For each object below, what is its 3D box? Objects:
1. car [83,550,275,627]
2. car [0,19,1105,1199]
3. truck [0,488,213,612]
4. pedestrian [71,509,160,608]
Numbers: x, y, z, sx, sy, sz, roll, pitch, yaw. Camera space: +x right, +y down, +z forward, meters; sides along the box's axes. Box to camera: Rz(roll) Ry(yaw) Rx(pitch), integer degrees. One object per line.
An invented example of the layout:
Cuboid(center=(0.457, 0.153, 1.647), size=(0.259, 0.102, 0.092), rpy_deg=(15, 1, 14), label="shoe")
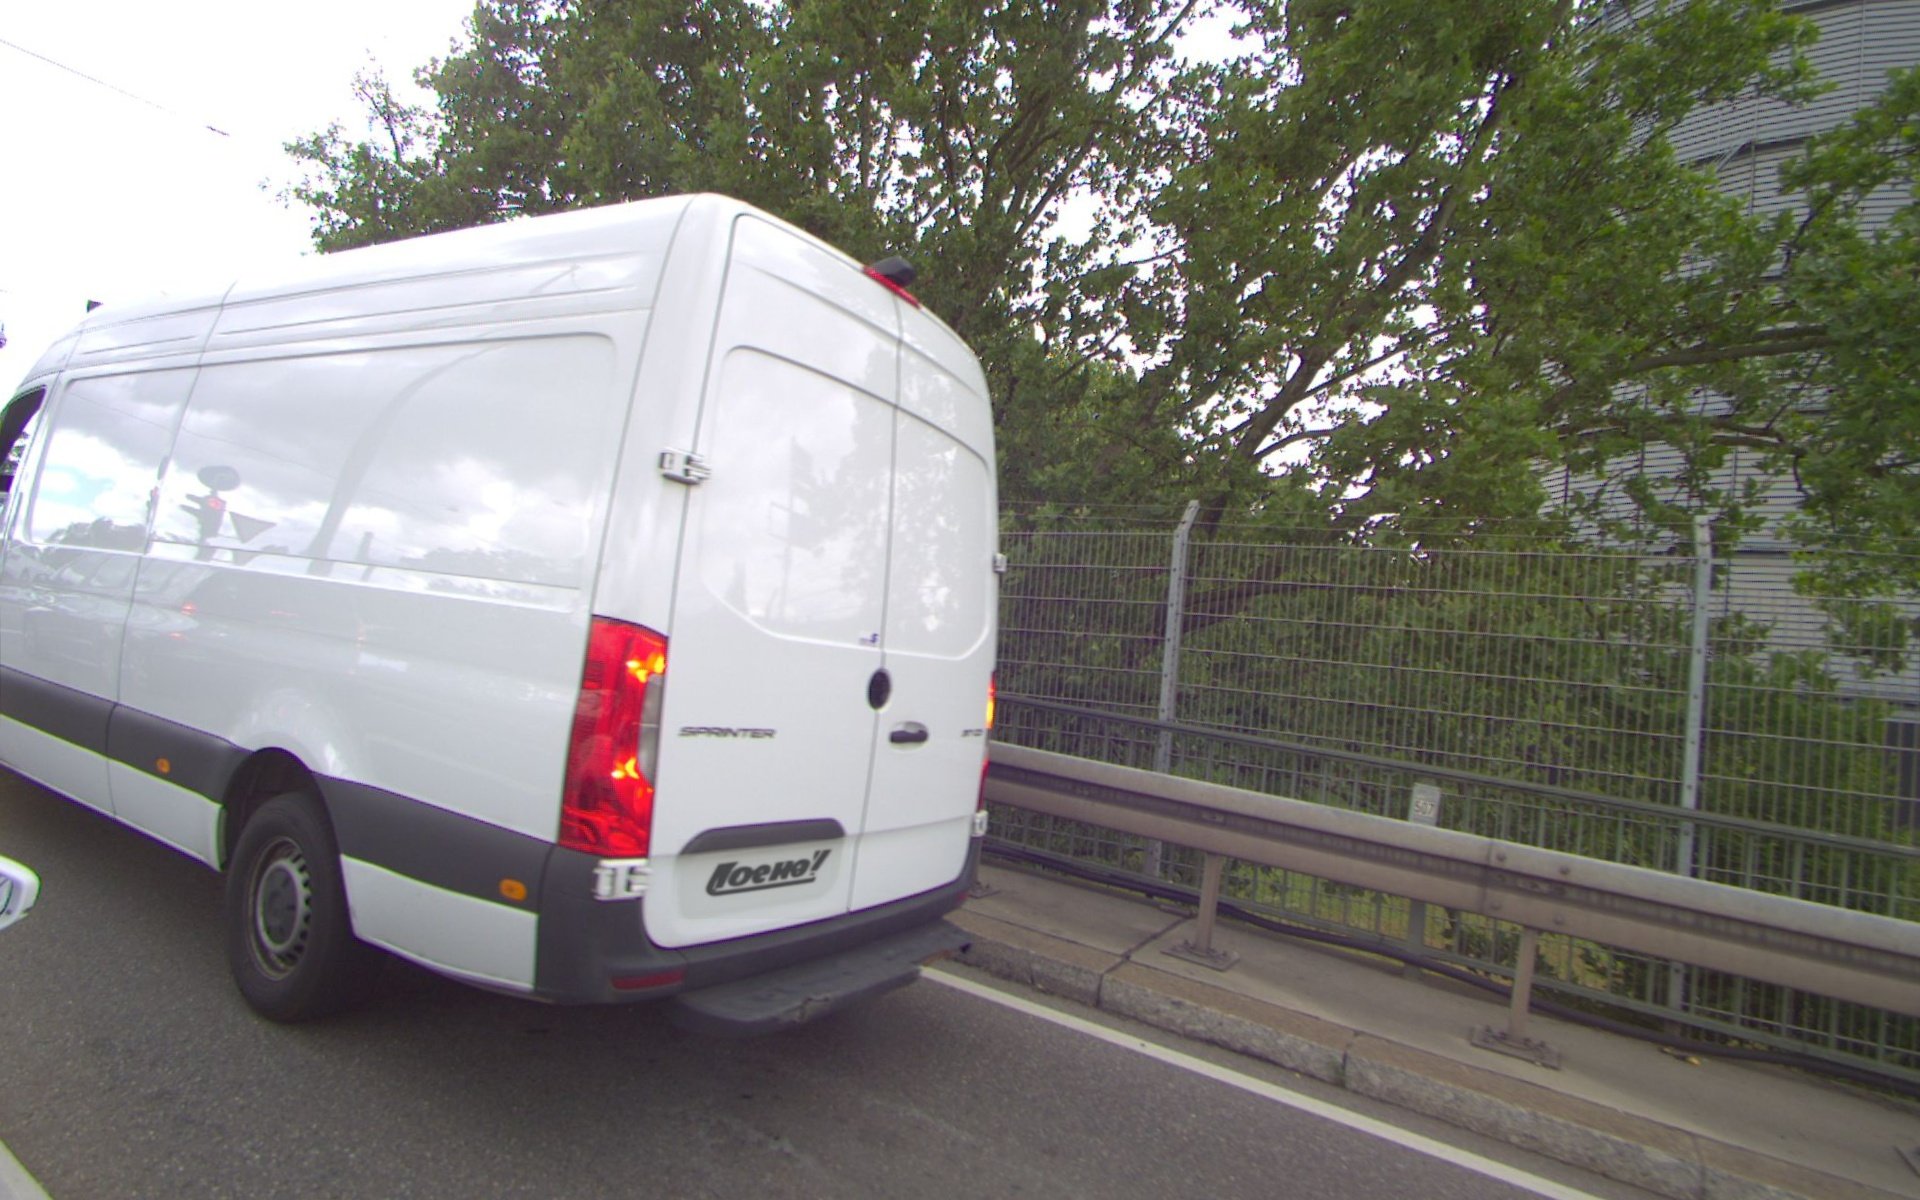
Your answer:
Cuboid(center=(-22.881, -0.300, 29.605), size=(1.784, 1.684, 3.992), rpy_deg=(7, -2, 34), label="car")
Cuboid(center=(-2.951, -0.158, 4.888), size=(6.666, 2.816, 2.114), rpy_deg=(7, -1, 31), label="car")
Cuboid(center=(-33.441, -2.076, 35.968), size=(10.109, 3.560, 2.786), rpy_deg=(8, -1, -21), label="truck")
Cuboid(center=(-15.506, -0.751, 18.483), size=(0.963, 1.697, 0.834), rpy_deg=(4, -2, 29), label="pedestrian")
